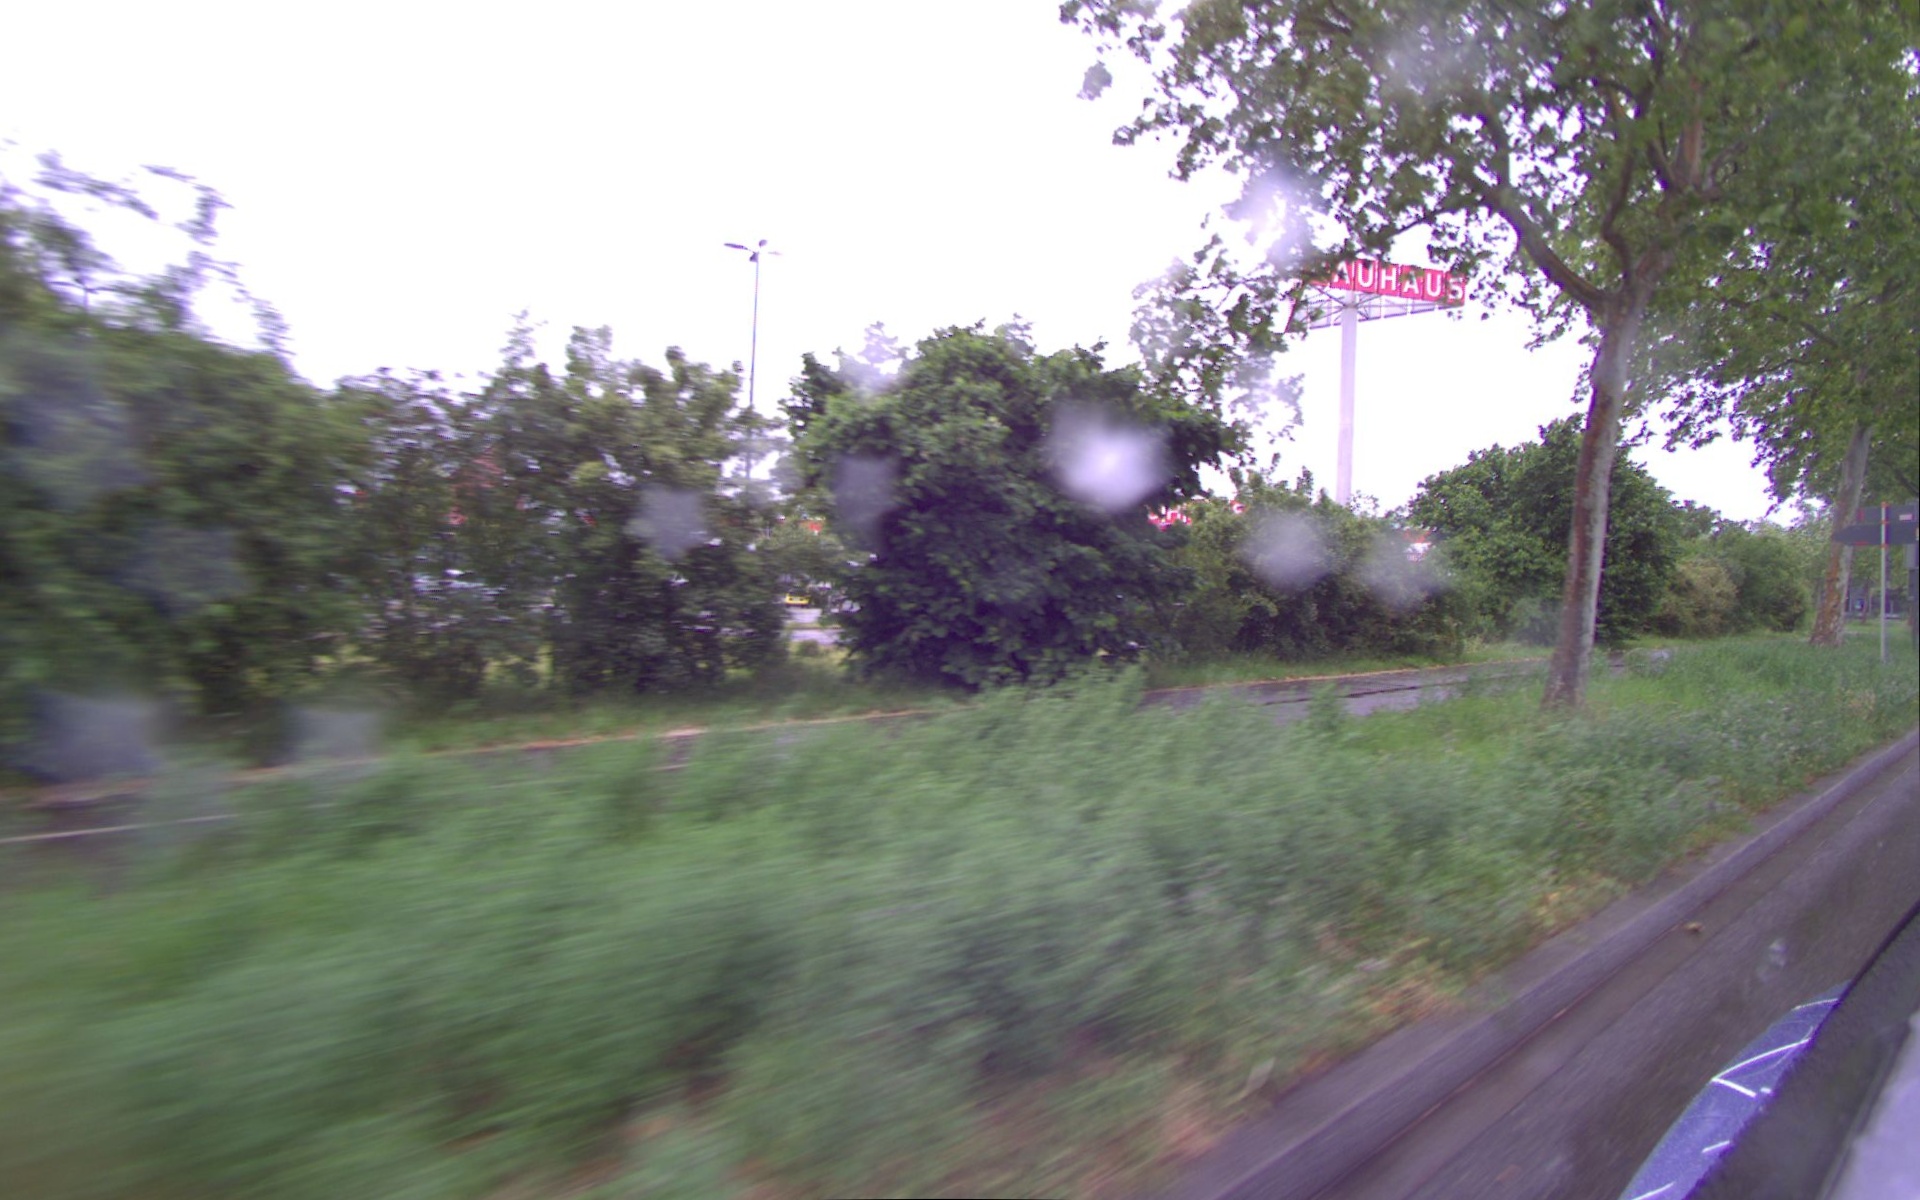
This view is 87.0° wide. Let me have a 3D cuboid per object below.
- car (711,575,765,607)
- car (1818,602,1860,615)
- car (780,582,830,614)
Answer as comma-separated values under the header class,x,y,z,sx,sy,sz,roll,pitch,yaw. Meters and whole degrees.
class,x,y,z,sx,sy,sz,roll,pitch,yaw
car,-14.648,-0.621,66.880,1.871,2.039,3.982,0,0,15
car,113.926,1.102,131.194,3.923,1.681,1.865,0,0,-1
car,-10.204,-0.129,66.989,1.871,2.039,3.982,0,0,15
